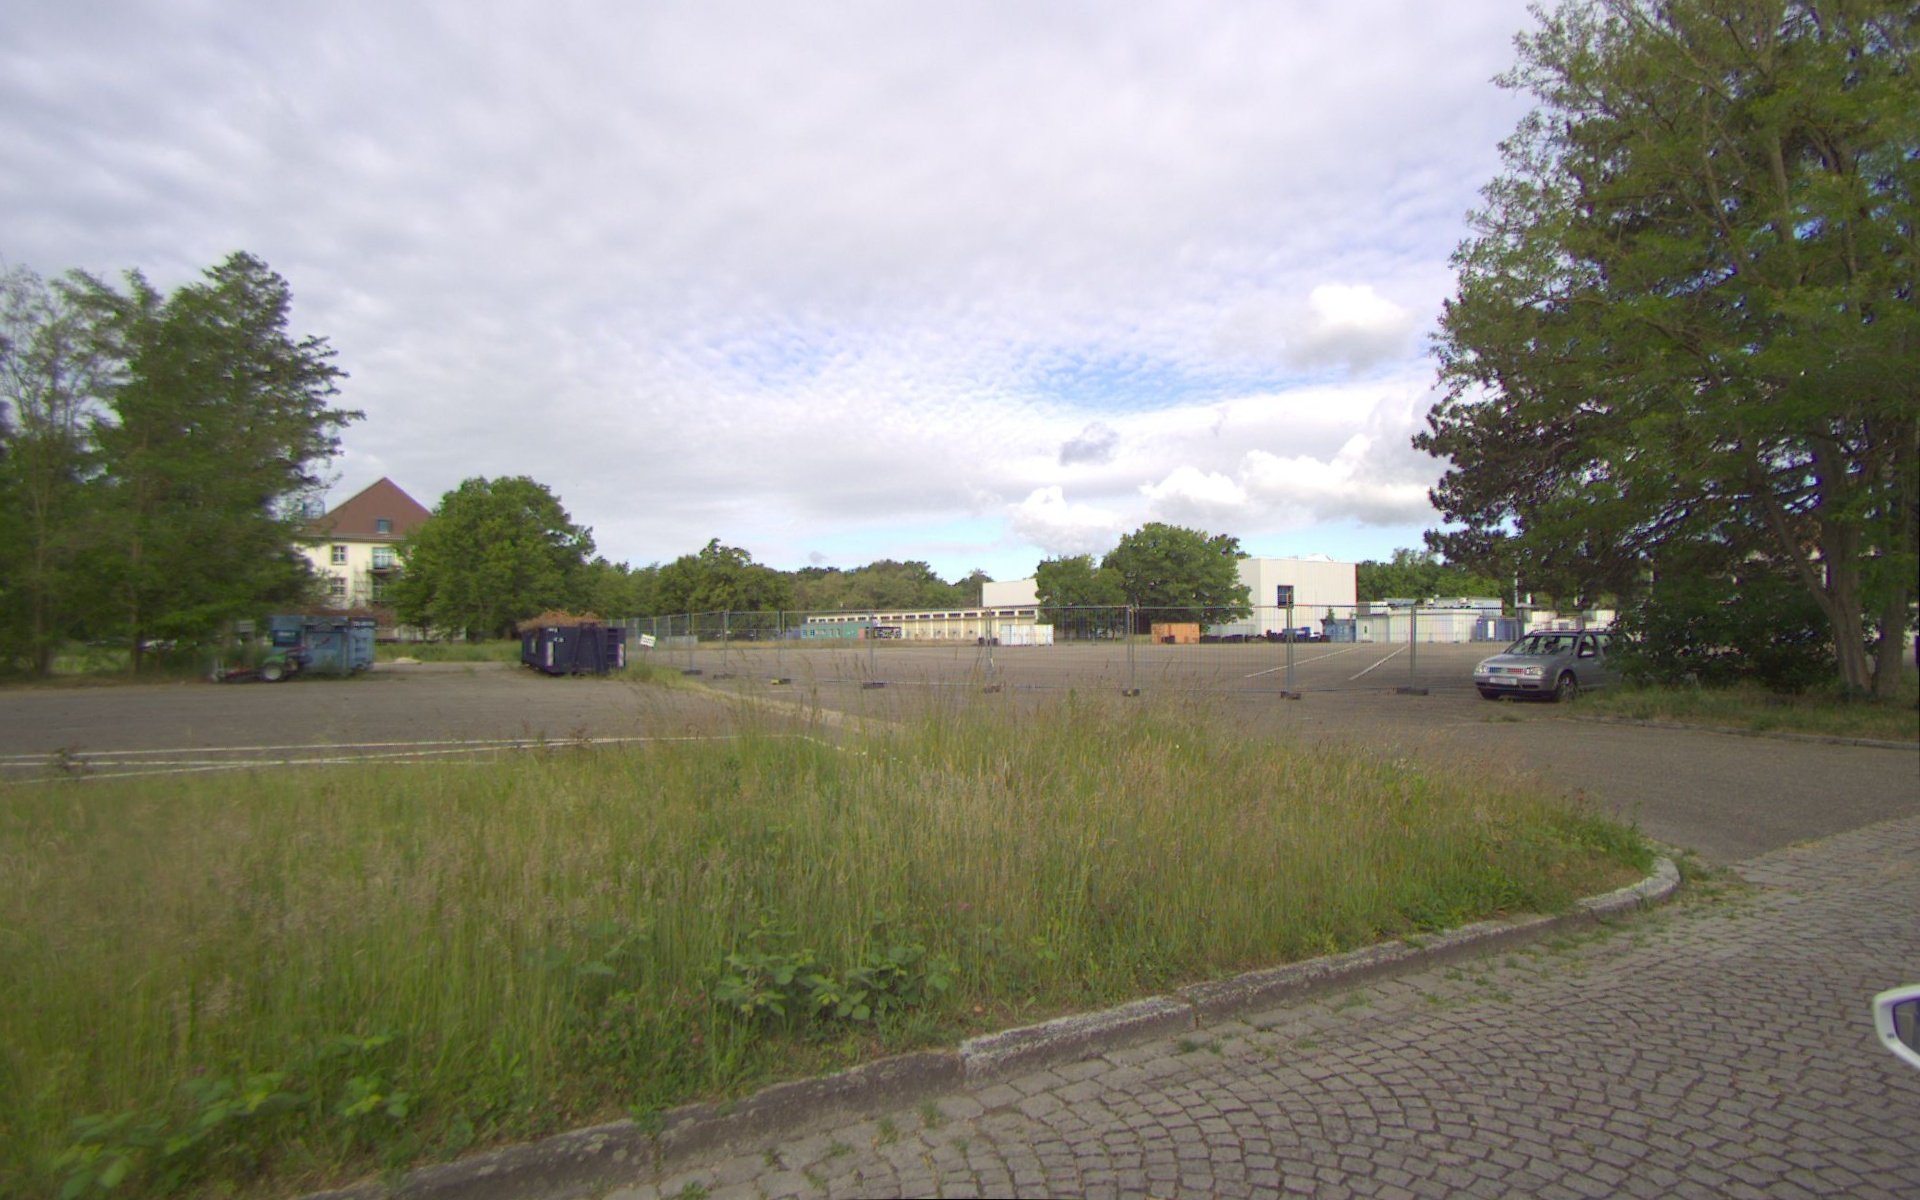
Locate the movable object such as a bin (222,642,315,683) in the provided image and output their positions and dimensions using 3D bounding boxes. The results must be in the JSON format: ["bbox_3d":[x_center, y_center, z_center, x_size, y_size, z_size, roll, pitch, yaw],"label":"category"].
[{"bbox_3d":[-17.912,1.598,26.024,1.940,0.982,1.433,1,-2,-37],"label":"movable object such as a bin"}]

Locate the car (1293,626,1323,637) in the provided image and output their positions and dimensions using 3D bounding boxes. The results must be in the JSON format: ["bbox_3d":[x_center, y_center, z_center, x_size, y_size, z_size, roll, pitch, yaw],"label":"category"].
[{"bbox_3d":[51.190,4.664,147.942,1.807,1.655,4.089,1,-2,-28],"label":"car"}]

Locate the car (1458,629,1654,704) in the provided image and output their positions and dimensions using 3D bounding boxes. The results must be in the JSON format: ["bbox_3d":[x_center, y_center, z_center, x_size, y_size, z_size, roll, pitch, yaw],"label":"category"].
[{"bbox_3d":[12.782,1.358,21.484,4.372,1.435,1.815,1,-2,-32],"label":"car"}]
